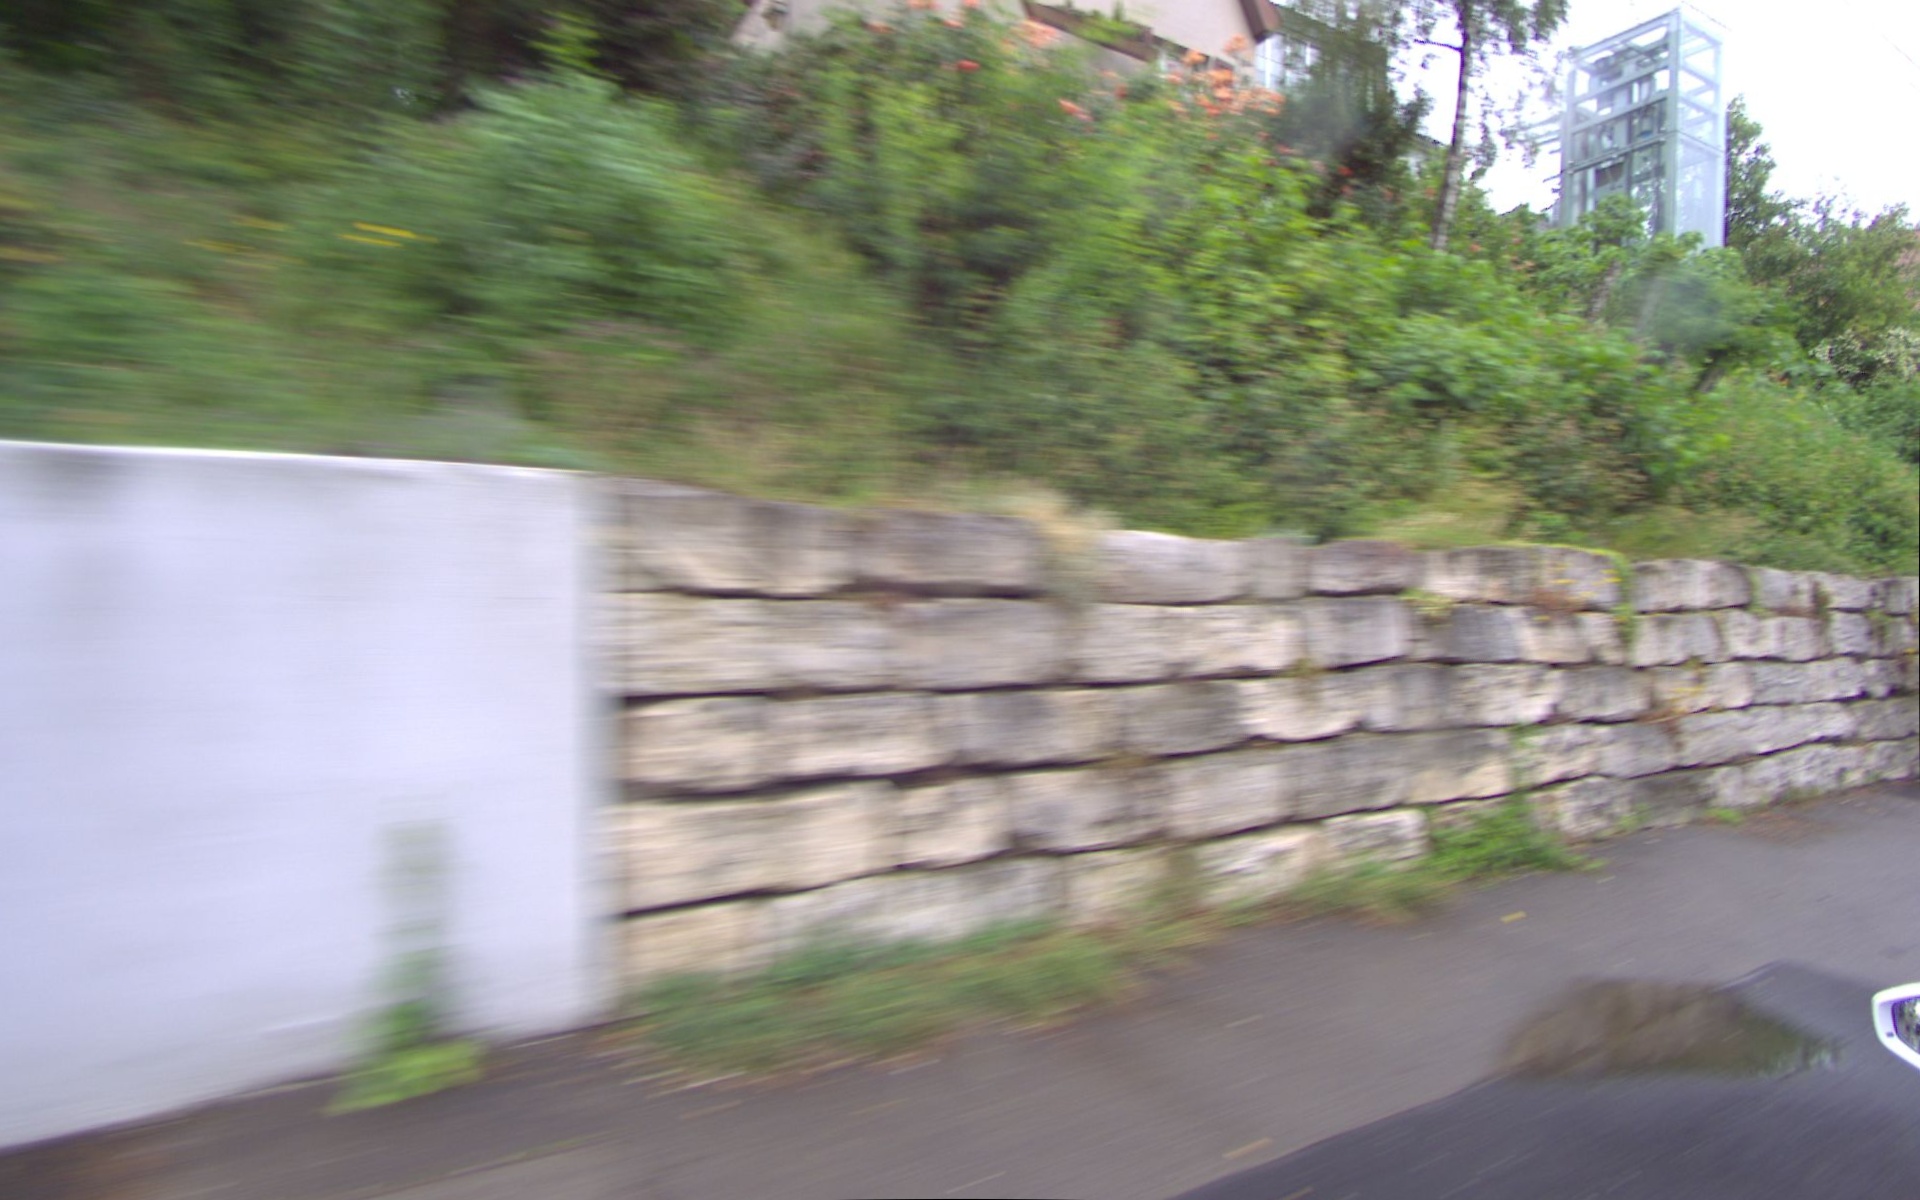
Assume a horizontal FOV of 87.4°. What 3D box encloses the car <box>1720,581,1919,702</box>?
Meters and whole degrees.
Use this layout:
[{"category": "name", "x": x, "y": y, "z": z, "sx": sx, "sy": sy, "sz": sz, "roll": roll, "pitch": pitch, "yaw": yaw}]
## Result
[{"category": "car", "x": 14.875, "y": 0.645, "z": 15.618, "sx": 2.086, "sy": 1.729, "sz": 4.379, "roll": 1, "pitch": 1, "yaw": -30}]
